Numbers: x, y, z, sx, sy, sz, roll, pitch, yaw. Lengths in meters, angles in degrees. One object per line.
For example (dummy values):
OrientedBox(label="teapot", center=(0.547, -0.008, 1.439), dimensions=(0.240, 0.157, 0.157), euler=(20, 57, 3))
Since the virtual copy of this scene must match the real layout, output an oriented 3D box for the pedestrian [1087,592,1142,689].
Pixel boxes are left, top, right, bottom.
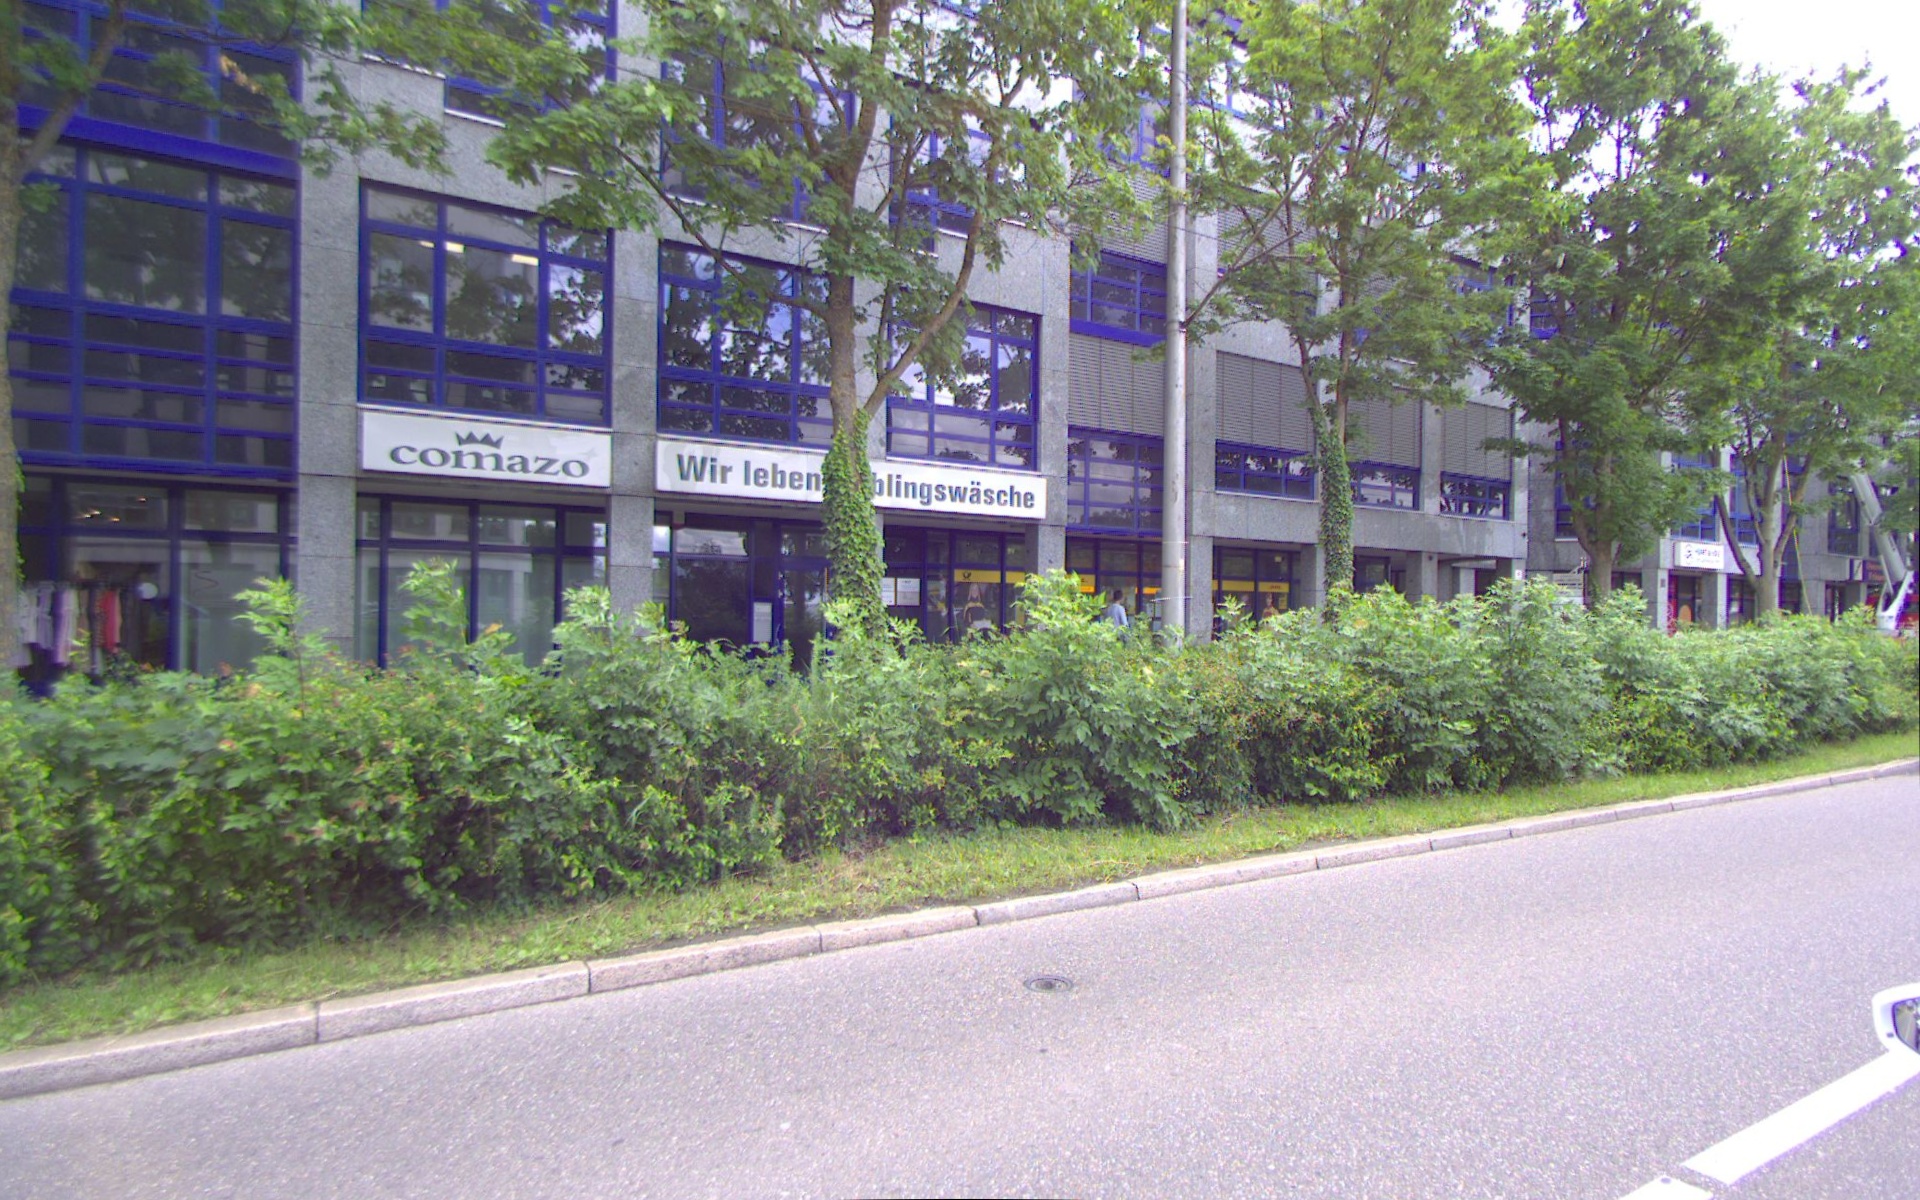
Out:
OrientedBox(label="pedestrian", center=(3.130, 0.811, 20.379), dimensions=(0.723, 1.919, 0.771), euler=(2, 0, -30))
